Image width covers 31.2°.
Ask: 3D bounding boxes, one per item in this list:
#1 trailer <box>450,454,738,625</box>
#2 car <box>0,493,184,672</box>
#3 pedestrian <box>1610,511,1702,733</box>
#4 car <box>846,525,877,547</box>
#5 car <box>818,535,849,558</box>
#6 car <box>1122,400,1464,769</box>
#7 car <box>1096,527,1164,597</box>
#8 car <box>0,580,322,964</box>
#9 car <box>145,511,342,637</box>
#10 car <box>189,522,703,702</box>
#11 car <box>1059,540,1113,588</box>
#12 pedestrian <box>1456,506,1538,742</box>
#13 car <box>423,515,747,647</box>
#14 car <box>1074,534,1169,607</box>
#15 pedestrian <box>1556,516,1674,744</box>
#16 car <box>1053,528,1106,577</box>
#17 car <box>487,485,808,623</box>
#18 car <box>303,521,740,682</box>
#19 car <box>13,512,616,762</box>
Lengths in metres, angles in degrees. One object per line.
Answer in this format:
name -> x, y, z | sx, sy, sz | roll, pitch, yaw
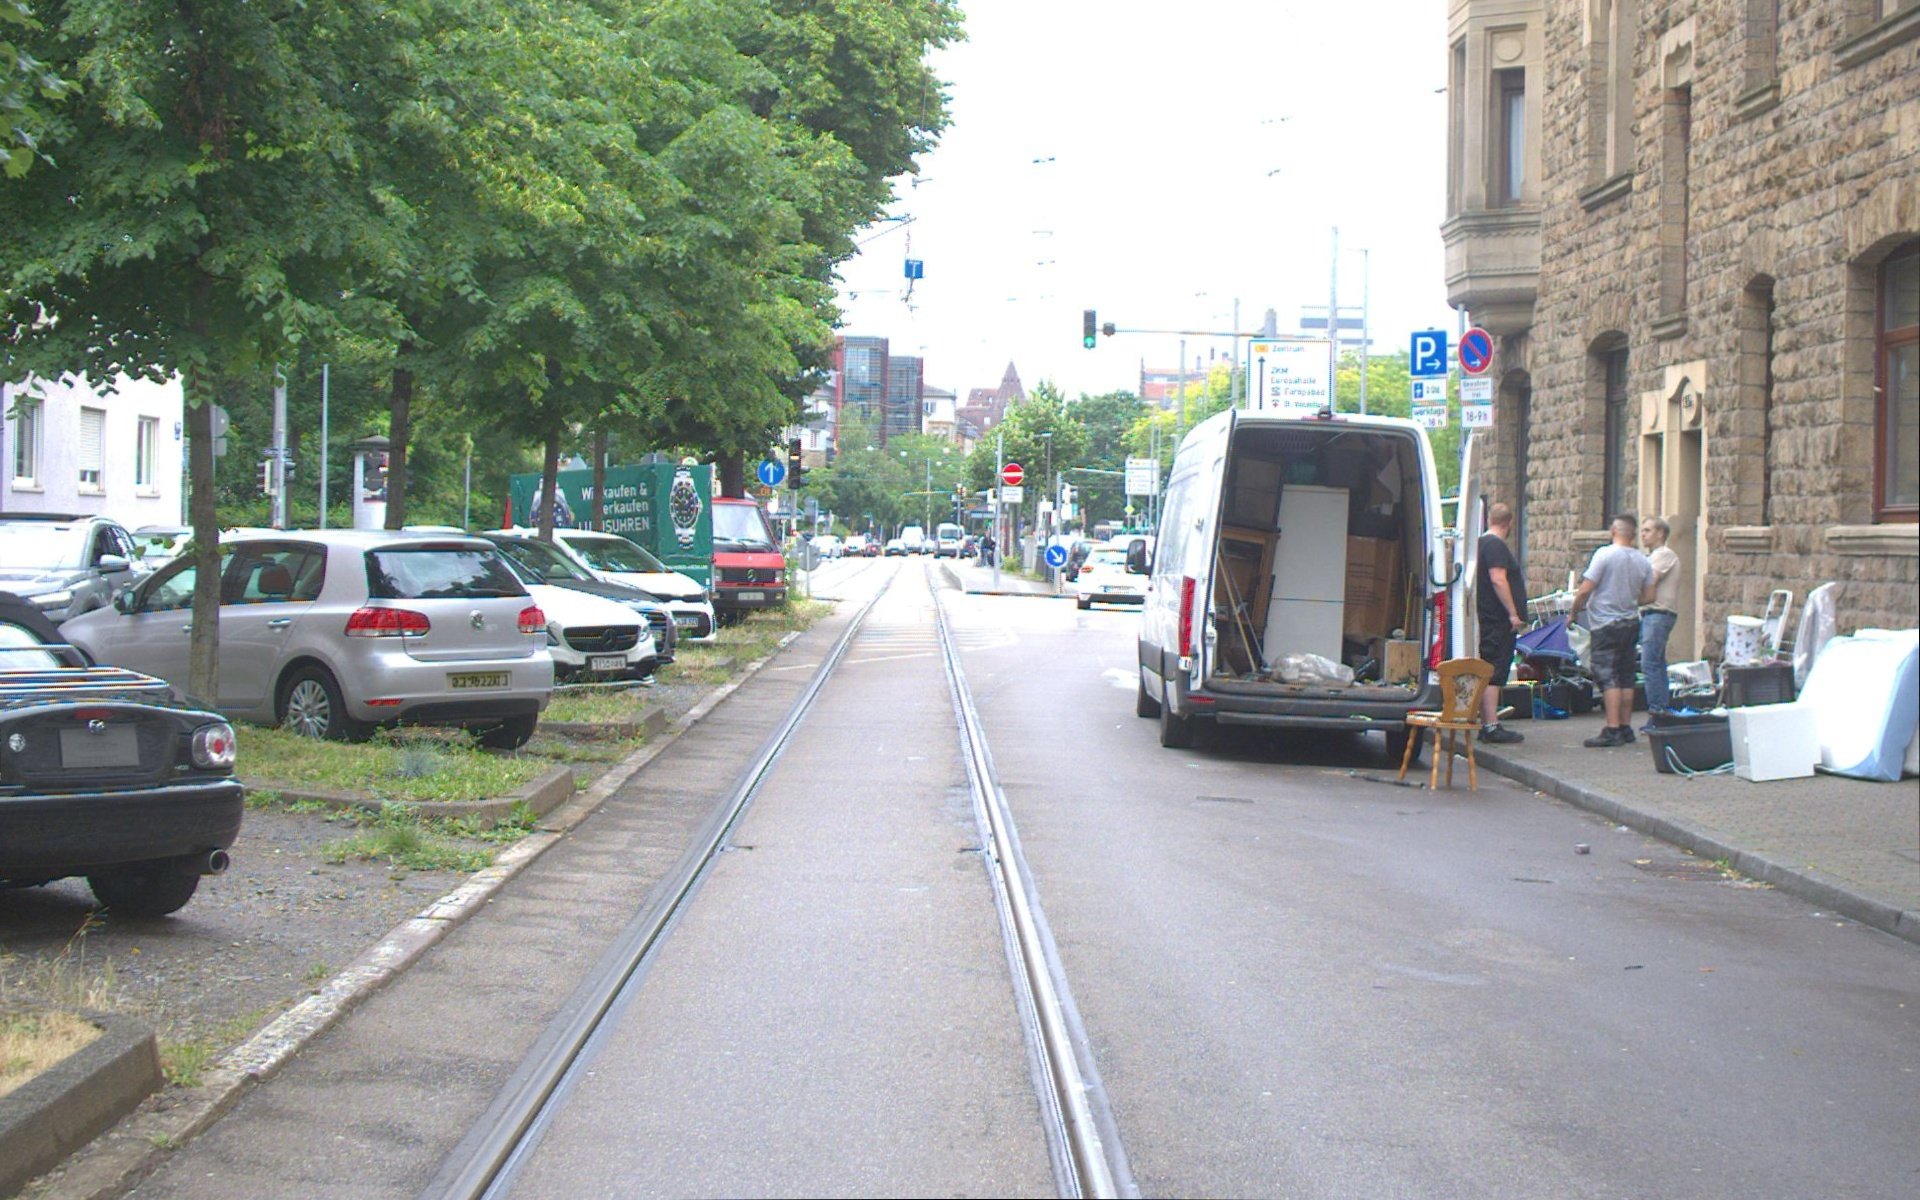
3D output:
trailer -> -5.234, -0.879, 49.070 | 3.666, 2.336, 1.927 | 2, 1, 33
car -> -8.781, -0.202, 32.754 | 1.804, 1.573, 4.547 | 1, 1, -1
pedestrian -> 5.453, 0.167, 26.955 | 0.507, 1.711, 0.581 | -1, 1, -10
car -> -7.199, -4.681, 251.645 | 1.770, 1.488, 3.886 | 1, 1, 6
car -> -8.085, -3.413, 219.191 | 1.762, 1.382, 4.000 | 1, 1, 0
car -> 2.542, -0.185, 28.049 | 2.013, 2.540, 7.017 | 3, 1, 0
car -> 4.985, -1.136, 101.348 | 1.782, 1.956, 4.382 | 1, 1, 1
car -> -4.272, 0.523, 12.858 | 3.960, 1.198, 1.664 | 3, 2, 43
car -> -9.140, -0.352, 44.172 | 1.644, 1.499, 4.622 | 1, 1, -1
car -> -4.686, 0.068, 30.946 | 4.684, 1.430, 1.894 | 2, 2, 39
car -> 4.718, -1.361, 128.986 | 1.782, 1.673, 4.383 | 1, 1, 0
pedestrian -> 4.193, 0.177, 26.873 | 0.499, 1.809, 0.803 | -1, 1, 1
car -> -4.524, -0.249, 41.152 | 3.860, 1.458, 1.685 | 2, 2, 42
car -> 3.490, -0.654, 73.682 | 1.783, 1.467, 4.009 | 2, 1, 6
pedestrian -> 4.981, 0.218, 26.132 | 0.702, 1.694, 0.493 | -2, 1, -28
car -> 5.195, -2.089, 149.712 | 2.180, 2.026, 4.382 | 1, 1, 1
car -> -4.762, -0.722, 52.023 | 4.763, 1.967, 1.955 | 2, 1, 38
car -> -4.385, -0.024, 34.008 | 4.337, 1.430, 1.894 | 2, 2, 42
car -> -4.424, 0.197, 23.240 | 4.114, 1.479, 1.793 | 2, 1, 40
